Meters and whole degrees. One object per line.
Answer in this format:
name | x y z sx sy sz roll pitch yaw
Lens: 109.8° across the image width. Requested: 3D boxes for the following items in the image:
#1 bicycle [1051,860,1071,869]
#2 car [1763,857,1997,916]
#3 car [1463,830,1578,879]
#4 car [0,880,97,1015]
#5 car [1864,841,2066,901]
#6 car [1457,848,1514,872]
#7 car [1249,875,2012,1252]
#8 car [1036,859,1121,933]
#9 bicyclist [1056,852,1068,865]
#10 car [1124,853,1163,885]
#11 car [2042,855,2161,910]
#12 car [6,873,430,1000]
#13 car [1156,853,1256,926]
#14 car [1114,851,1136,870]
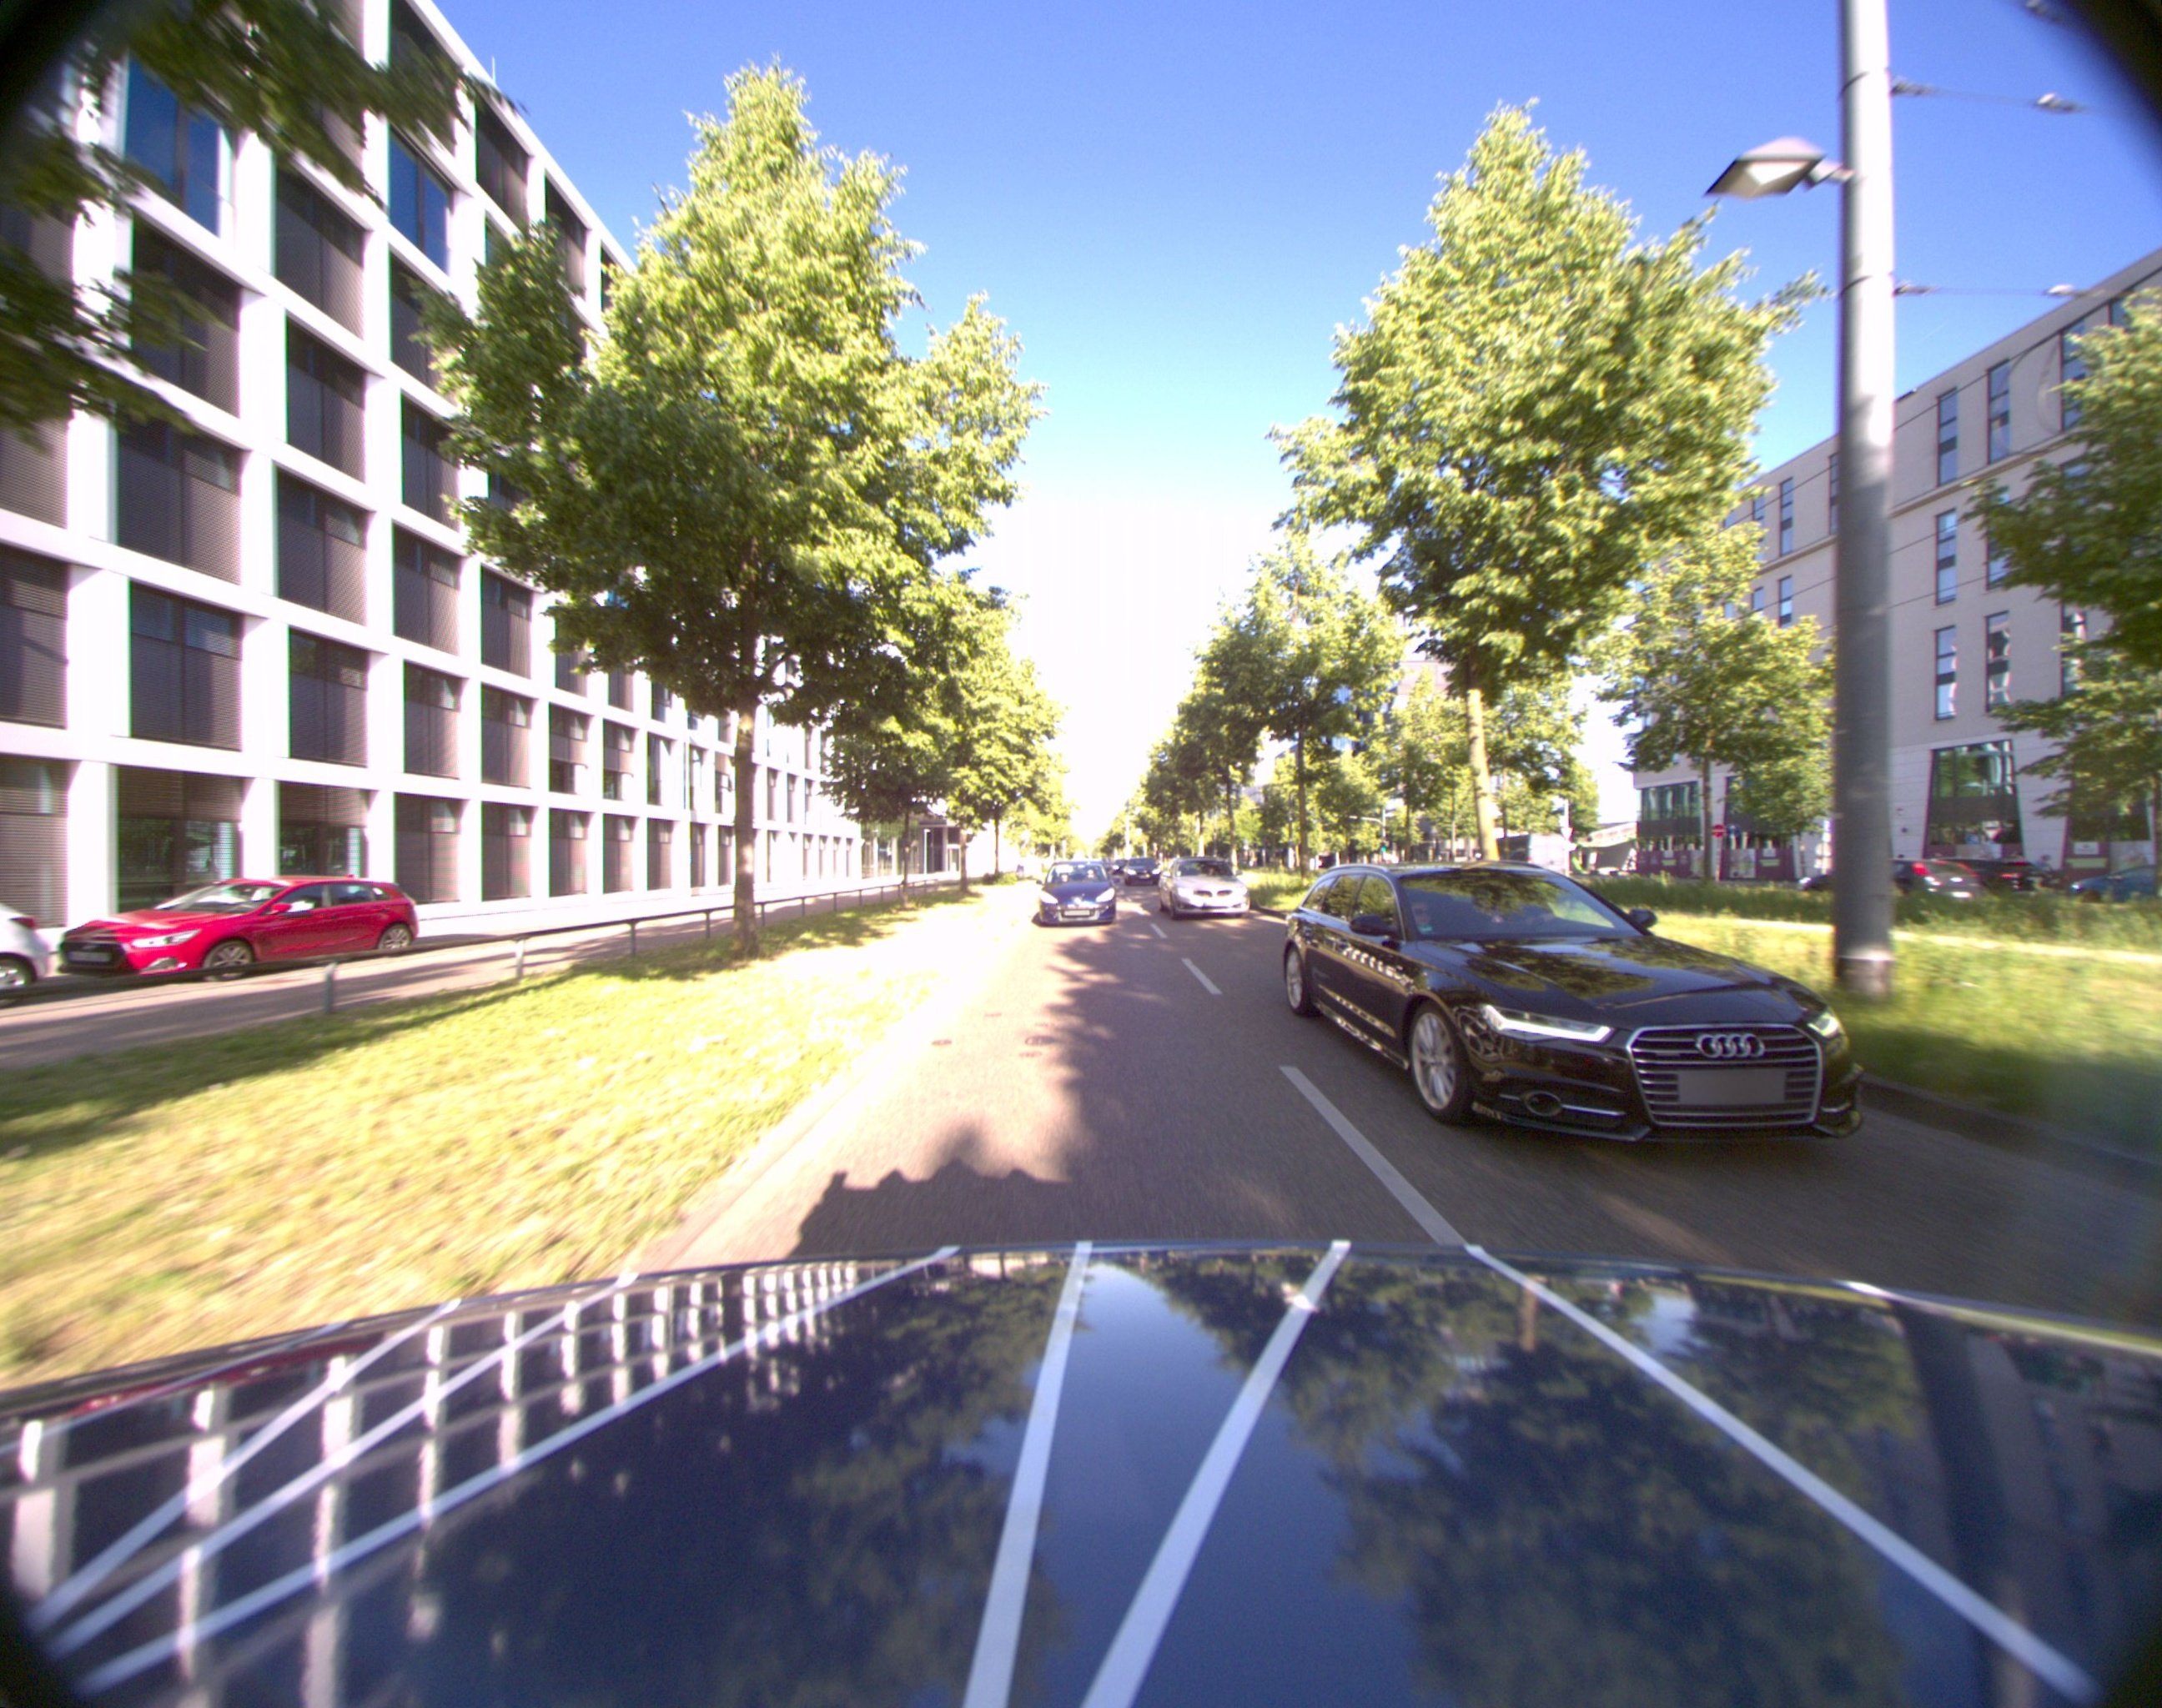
bicycle | -2.000 1.010 74.762 1.927 0.899 0.647 0 0 4
car | 22.678 0.852 21.889 1.999 1.433 4.455 -2 0 -1
car | 23.903 0.020 41.692 2.512 2.367 6.026 -2 0 -3
car | -13.596 1.090 7.470 1.998 1.477 4.403 2 0 4
car | 31.806 0.576 27.609 1.999 2.002 4.553 0 0 -2
car | 32.535 0.429 61.260 2.106 1.798 4.420 -2 0 -1
car | 2.829 0.926 5.669 1.958 1.471 5.085 -1 -1 -1
car | 0.023 0.911 18.288 1.766 1.462 4.000 -2 0 2
bicyclist | -1.846 0.422 74.747 1.086 1.315 0.639 0 0 4
car | 3.338 0.777 41.385 1.950 1.513 4.001 -2 0 3
car | 31.739 0.809 22.305 1.998 1.562 4.000 0 0 1
car | -13.264 1.152 12.191 1.869 1.477 4.272 2 0 1
car | 3.024 0.795 19.284 1.886 1.569 4.278 -2 0 1
car | 3.953 0.523 68.159 1.782 1.570 3.784 -2 0 1
